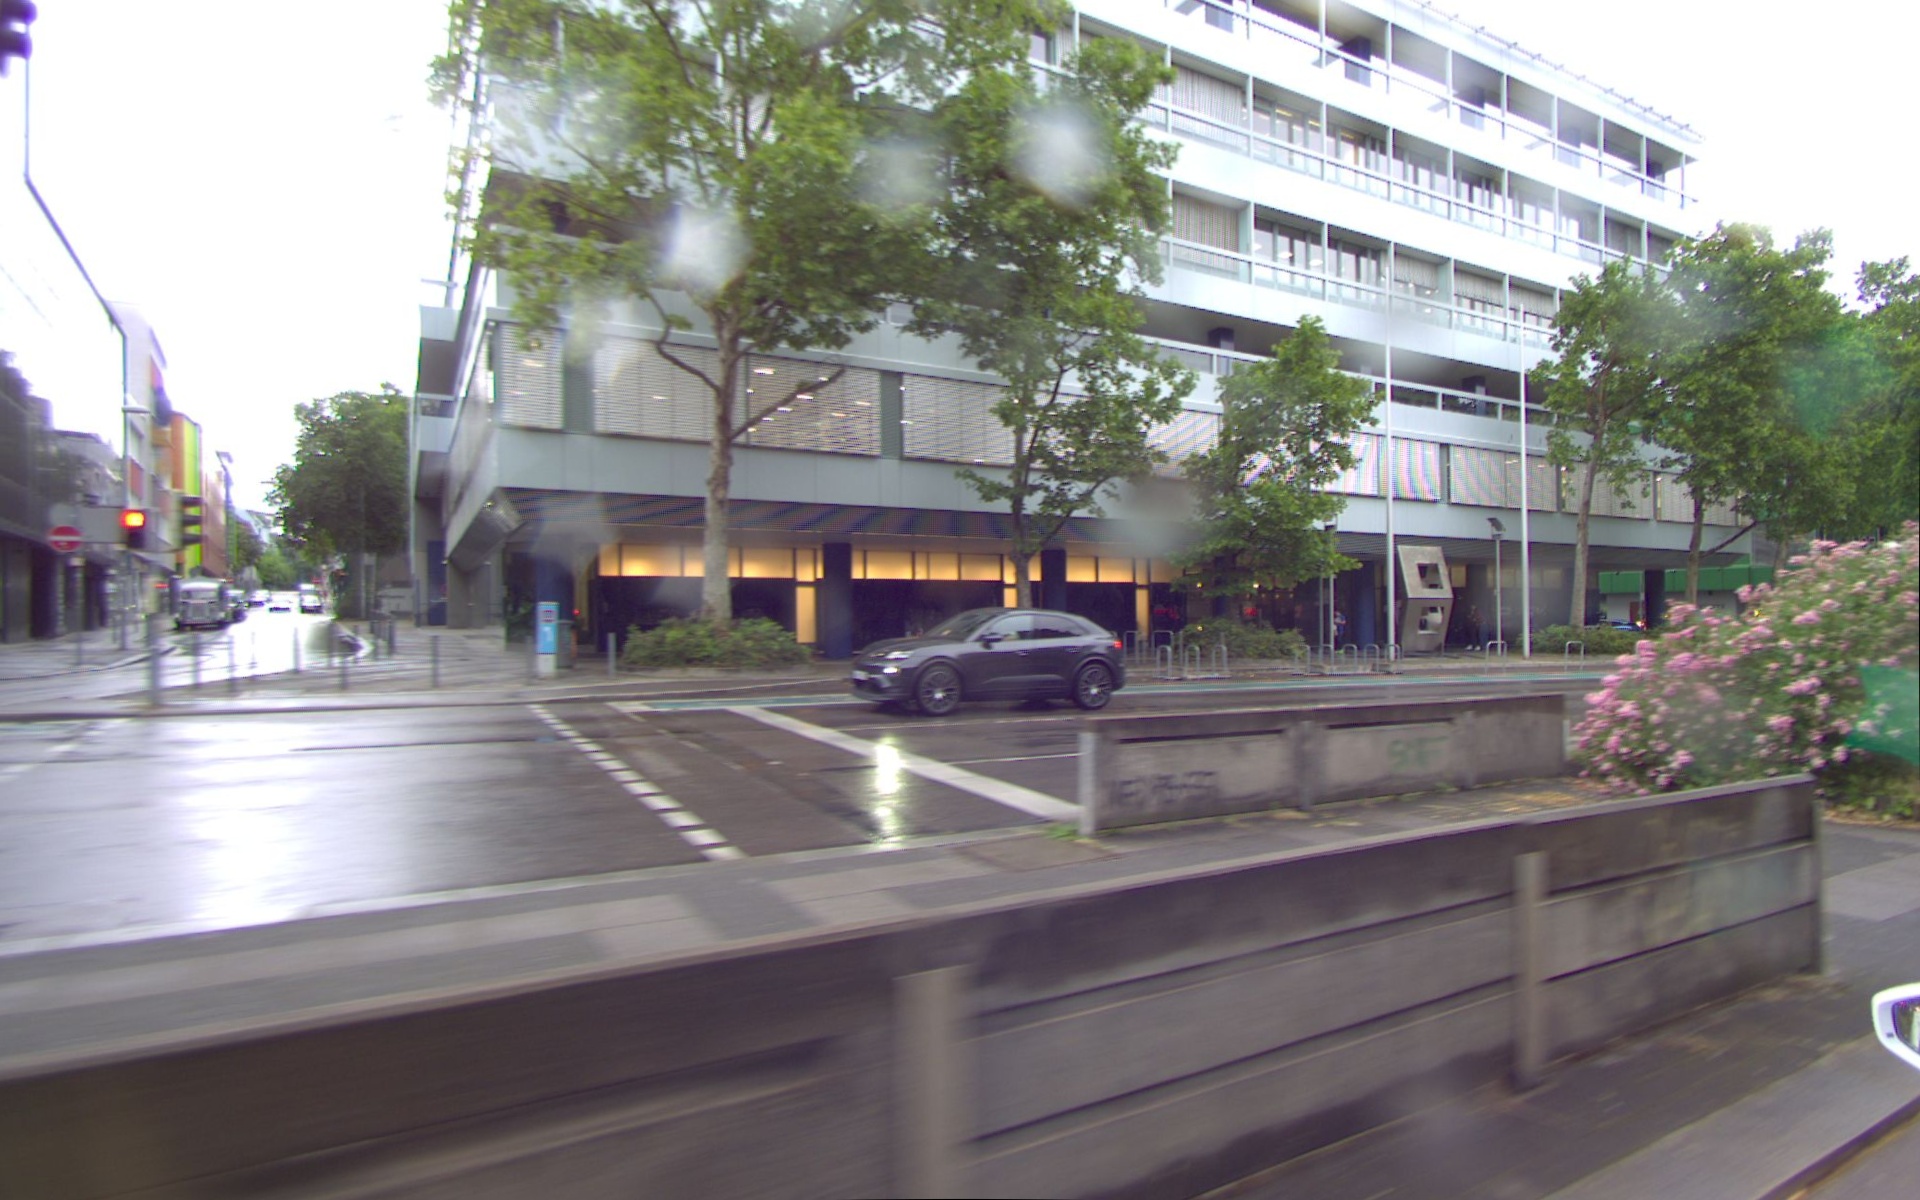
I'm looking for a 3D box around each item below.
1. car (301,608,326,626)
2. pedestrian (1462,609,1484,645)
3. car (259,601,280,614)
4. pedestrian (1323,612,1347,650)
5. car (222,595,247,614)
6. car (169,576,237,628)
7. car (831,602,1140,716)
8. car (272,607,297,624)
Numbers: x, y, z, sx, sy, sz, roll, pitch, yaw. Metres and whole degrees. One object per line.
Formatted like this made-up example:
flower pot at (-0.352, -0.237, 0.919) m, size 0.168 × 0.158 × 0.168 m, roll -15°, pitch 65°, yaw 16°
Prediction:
car at (-62.529, 1.623, 97.152) m, size 1.978 × 1.528 × 3.964 m, roll 2°, pitch 0°, yaw -32°
pedestrian at (21.974, 1.170, 43.035) m, size 0.569 × 1.502 × 0.606 m, roll 2°, pitch 0°, yaw -33°
car at (-86.590, 0.938, 125.960) m, size 1.978 × 1.528 × 3.964 m, roll 2°, pitch 0°, yaw -32°
pedestrian at (13.844, 1.142, 37.045) m, size 0.469 × 1.398 × 0.634 m, roll 2°, pitch 0°, yaw -33°
car at (-47.683, 0.310, 66.029) m, size 1.275 × 1.148 × 2.655 m, roll 2°, pitch 0°, yaw -35°
car at (-37.161, 0.051, 49.462) m, size 2.227 × 2.354 × 6.700 m, roll 2°, pitch 0°, yaw -34°
car at (0.452, 0.925, 16.409) m, size 4.685 × 1.605 × 1.902 m, roll 2°, pitch 0°, yaw -27°
car at (-67.103, 1.573, 99.833) m, size 1.978 × 1.528 × 3.964 m, roll 2°, pitch 0°, yaw -32°
